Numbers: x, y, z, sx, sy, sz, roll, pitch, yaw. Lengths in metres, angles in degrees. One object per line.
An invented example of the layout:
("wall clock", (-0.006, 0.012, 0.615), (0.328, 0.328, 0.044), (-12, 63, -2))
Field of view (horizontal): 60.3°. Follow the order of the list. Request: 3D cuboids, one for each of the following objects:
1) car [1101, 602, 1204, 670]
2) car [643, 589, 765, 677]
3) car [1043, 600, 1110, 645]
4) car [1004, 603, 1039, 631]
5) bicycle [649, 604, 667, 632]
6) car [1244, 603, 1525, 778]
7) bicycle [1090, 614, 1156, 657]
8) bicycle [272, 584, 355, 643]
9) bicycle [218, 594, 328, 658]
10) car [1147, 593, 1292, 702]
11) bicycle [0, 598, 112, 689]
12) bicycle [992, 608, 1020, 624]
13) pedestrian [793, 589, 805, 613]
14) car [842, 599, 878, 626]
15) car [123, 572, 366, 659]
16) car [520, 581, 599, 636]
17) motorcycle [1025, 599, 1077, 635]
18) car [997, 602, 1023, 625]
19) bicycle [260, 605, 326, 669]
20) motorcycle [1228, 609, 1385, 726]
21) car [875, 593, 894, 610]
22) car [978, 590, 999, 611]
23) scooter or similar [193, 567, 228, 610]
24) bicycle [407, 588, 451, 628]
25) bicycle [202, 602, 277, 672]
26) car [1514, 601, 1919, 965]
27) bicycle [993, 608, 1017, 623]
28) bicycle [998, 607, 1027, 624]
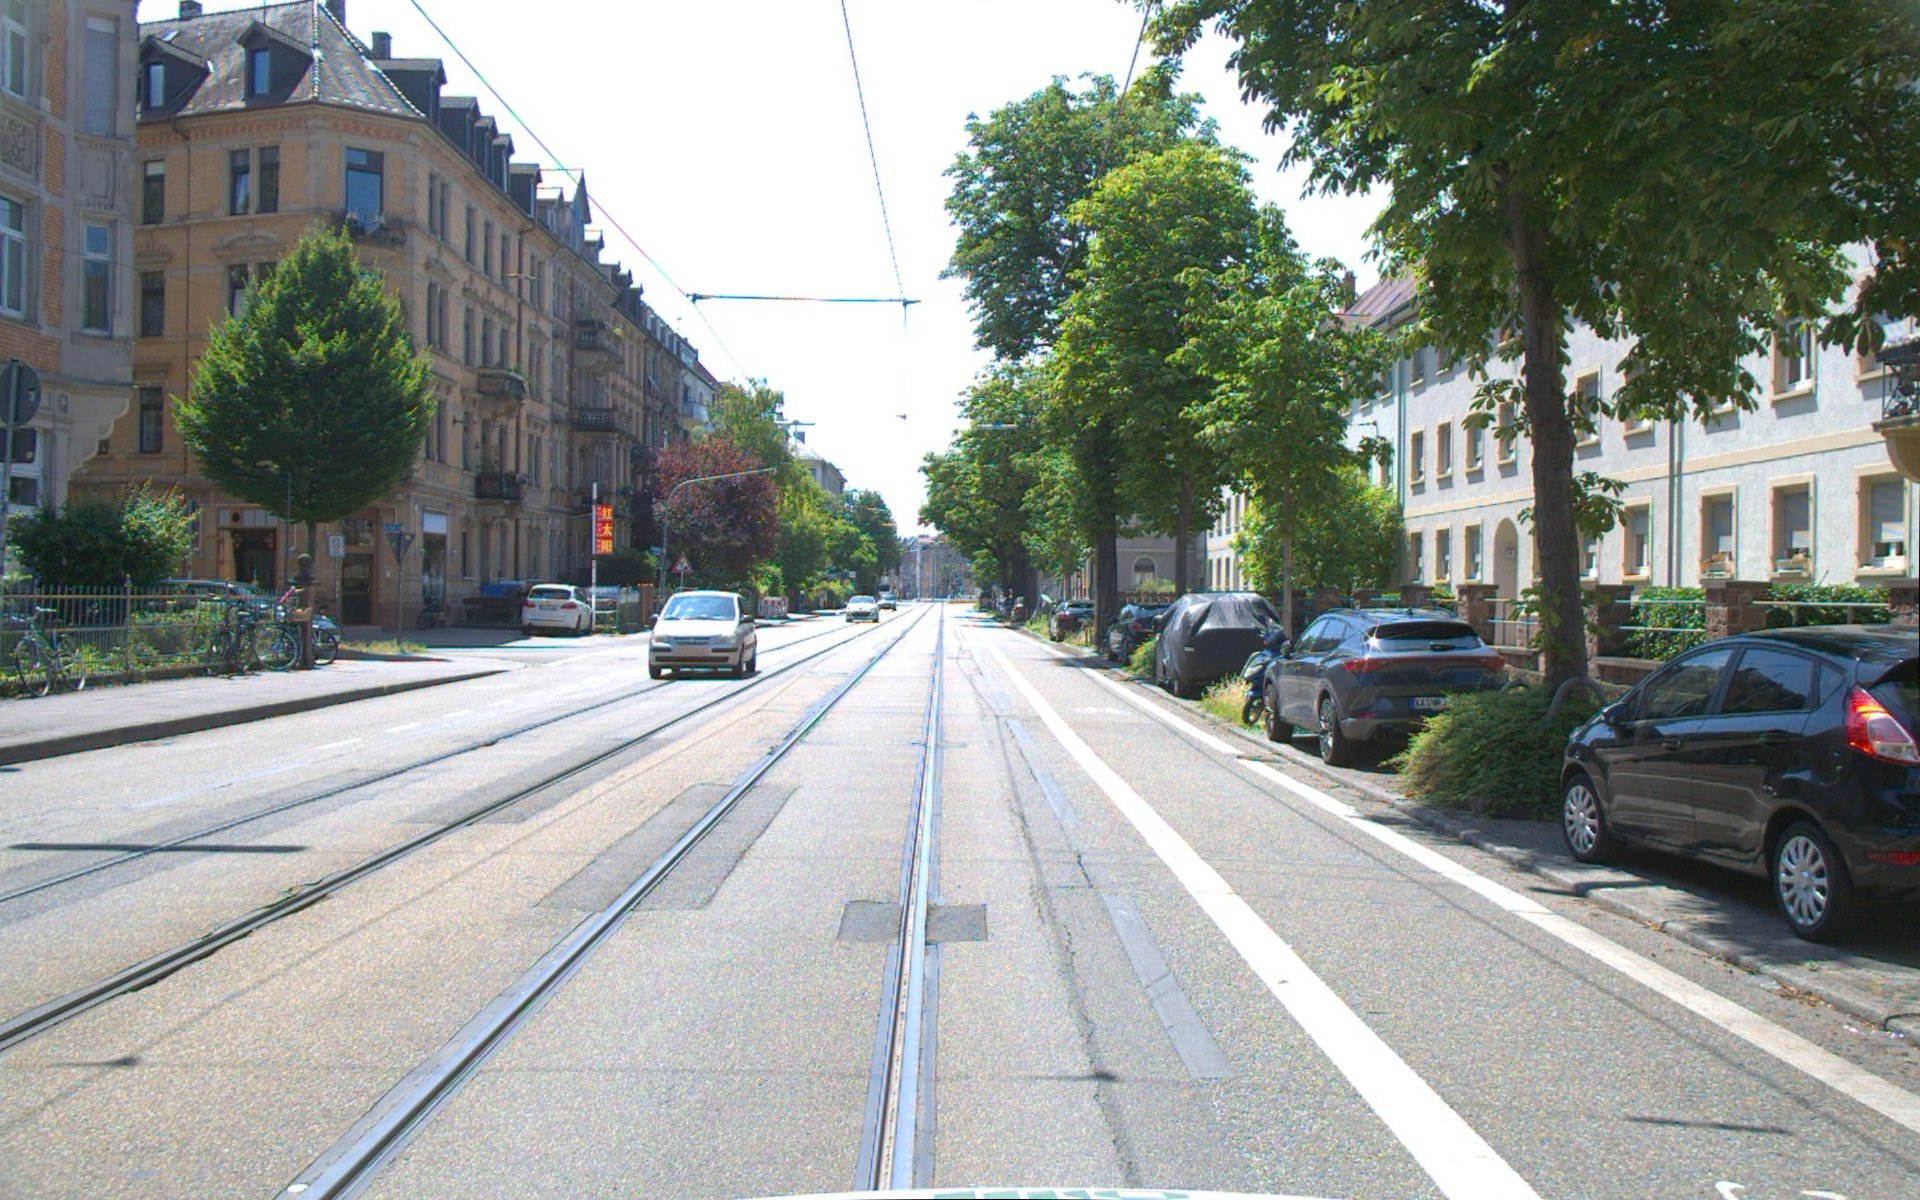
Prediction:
("car", (4.428, 0.791, 38.569), (1.661, 1.443, 4.354), (1, 0, -3))
("car", (-4.585, 0.554, 30.060), (1.650, 1.475, 3.999), (1, 0, -1))
("car", (4.039, 0.741, 57.848), (1.734, 1.451, 4.859), (1, 0, -3))
("car", (3.495, 0.947, 94.954), (1.738, 1.527, 4.304), (0, 0, -2))
("bicycle", (-11.372, 0.658, 62.282), (0.445, 1.021, 1.805), (1, 0, -4))
("car", (4.374, 0.861, 17.763), (1.698, 1.579, 4.451), (1, 0, -3))
("bicycle", (4.260, 0.922, 43.236), (1.621, 1.097, 0.605), (1, 0, -8))
("bicycle", (-14.582, 0.311, 37.335), (0.490, 1.249, 1.848), (0, -2, 27))
("bicycle", (-11.860, 0.439, 28.570), (1.669, 1.055, 0.551), (1, 0, 3))
("car", (4.380, 0.736, 28.623), (1.907, 1.679, 4.881), (1, 0, 2))
("bicycle", (-10.951, 0.500, 20.001), (0.486, 1.004, 1.710), (5, 0, -2))
("bicycle", (3.290, 1.183, 118.527), (1.968, 1.133, 0.640), (0, -1, 1))
("pedestrian", (-11.419, 0.073, 117.357), (0.736, 1.657, 0.832), (2, -1, -7))
("car", (-5.451, 0.662, 90.859), (1.720, 1.449, 4.000), (0, 0, 0))
("car", (-13.155, 0.291, 30.547), (3.683, 1.453, 1.713), (2, -1, 0))
("car", (-12.836, 0.253, 53.203), (1.829, 1.628, 4.097), (3, 0, -6))
("motorcycle", (4.027, 0.749, 73.424), (2.280, 1.567, 0.864), (2, 0, 43))
("car", (3.401, 0.932, 113.736), (1.589, 1.473, 3.809), (-1, -1, -1))
("bicycle", (-10.944, 0.587, 27.186), (0.430, 1.000, 1.710), (1, 0, -2))
("motorcycle", (4.520, 0.873, 21.613), (1.878, 1.458, 0.670), (1, 0, -10))
("car", (-6.972, 0.154, 153.255), (1.652, 1.480, 3.747), (1, 0, -1))
("car", (2.882, 0.017, 167.847), (1.952, 2.071, 4.696), (1, 0, -1))
("scooter or similar", (-23.023, -0.346, 50.813), (1.258, 1.296, 0.494), (0, 0, 41))
("bicycle", (-16.873, 0.250, 52.593), (0.625, 1.208, 2.145), (1, 0, 2))
("bicycle", (-10.932, 0.545, 25.145), (0.430, 1.000, 1.710), (1, 0, -2))
("car", (4.657, 0.806, 9.167), (1.624, 1.541, 3.997), (1, 0, -3))
("bicycle", (3.353, 1.173, 123.191), (1.779, 1.133, 0.493), (0, -1, -2))
("bicycle", (3.448, 1.028, 108.925), (1.849, 1.070, 0.538), (1, -1, 6))
